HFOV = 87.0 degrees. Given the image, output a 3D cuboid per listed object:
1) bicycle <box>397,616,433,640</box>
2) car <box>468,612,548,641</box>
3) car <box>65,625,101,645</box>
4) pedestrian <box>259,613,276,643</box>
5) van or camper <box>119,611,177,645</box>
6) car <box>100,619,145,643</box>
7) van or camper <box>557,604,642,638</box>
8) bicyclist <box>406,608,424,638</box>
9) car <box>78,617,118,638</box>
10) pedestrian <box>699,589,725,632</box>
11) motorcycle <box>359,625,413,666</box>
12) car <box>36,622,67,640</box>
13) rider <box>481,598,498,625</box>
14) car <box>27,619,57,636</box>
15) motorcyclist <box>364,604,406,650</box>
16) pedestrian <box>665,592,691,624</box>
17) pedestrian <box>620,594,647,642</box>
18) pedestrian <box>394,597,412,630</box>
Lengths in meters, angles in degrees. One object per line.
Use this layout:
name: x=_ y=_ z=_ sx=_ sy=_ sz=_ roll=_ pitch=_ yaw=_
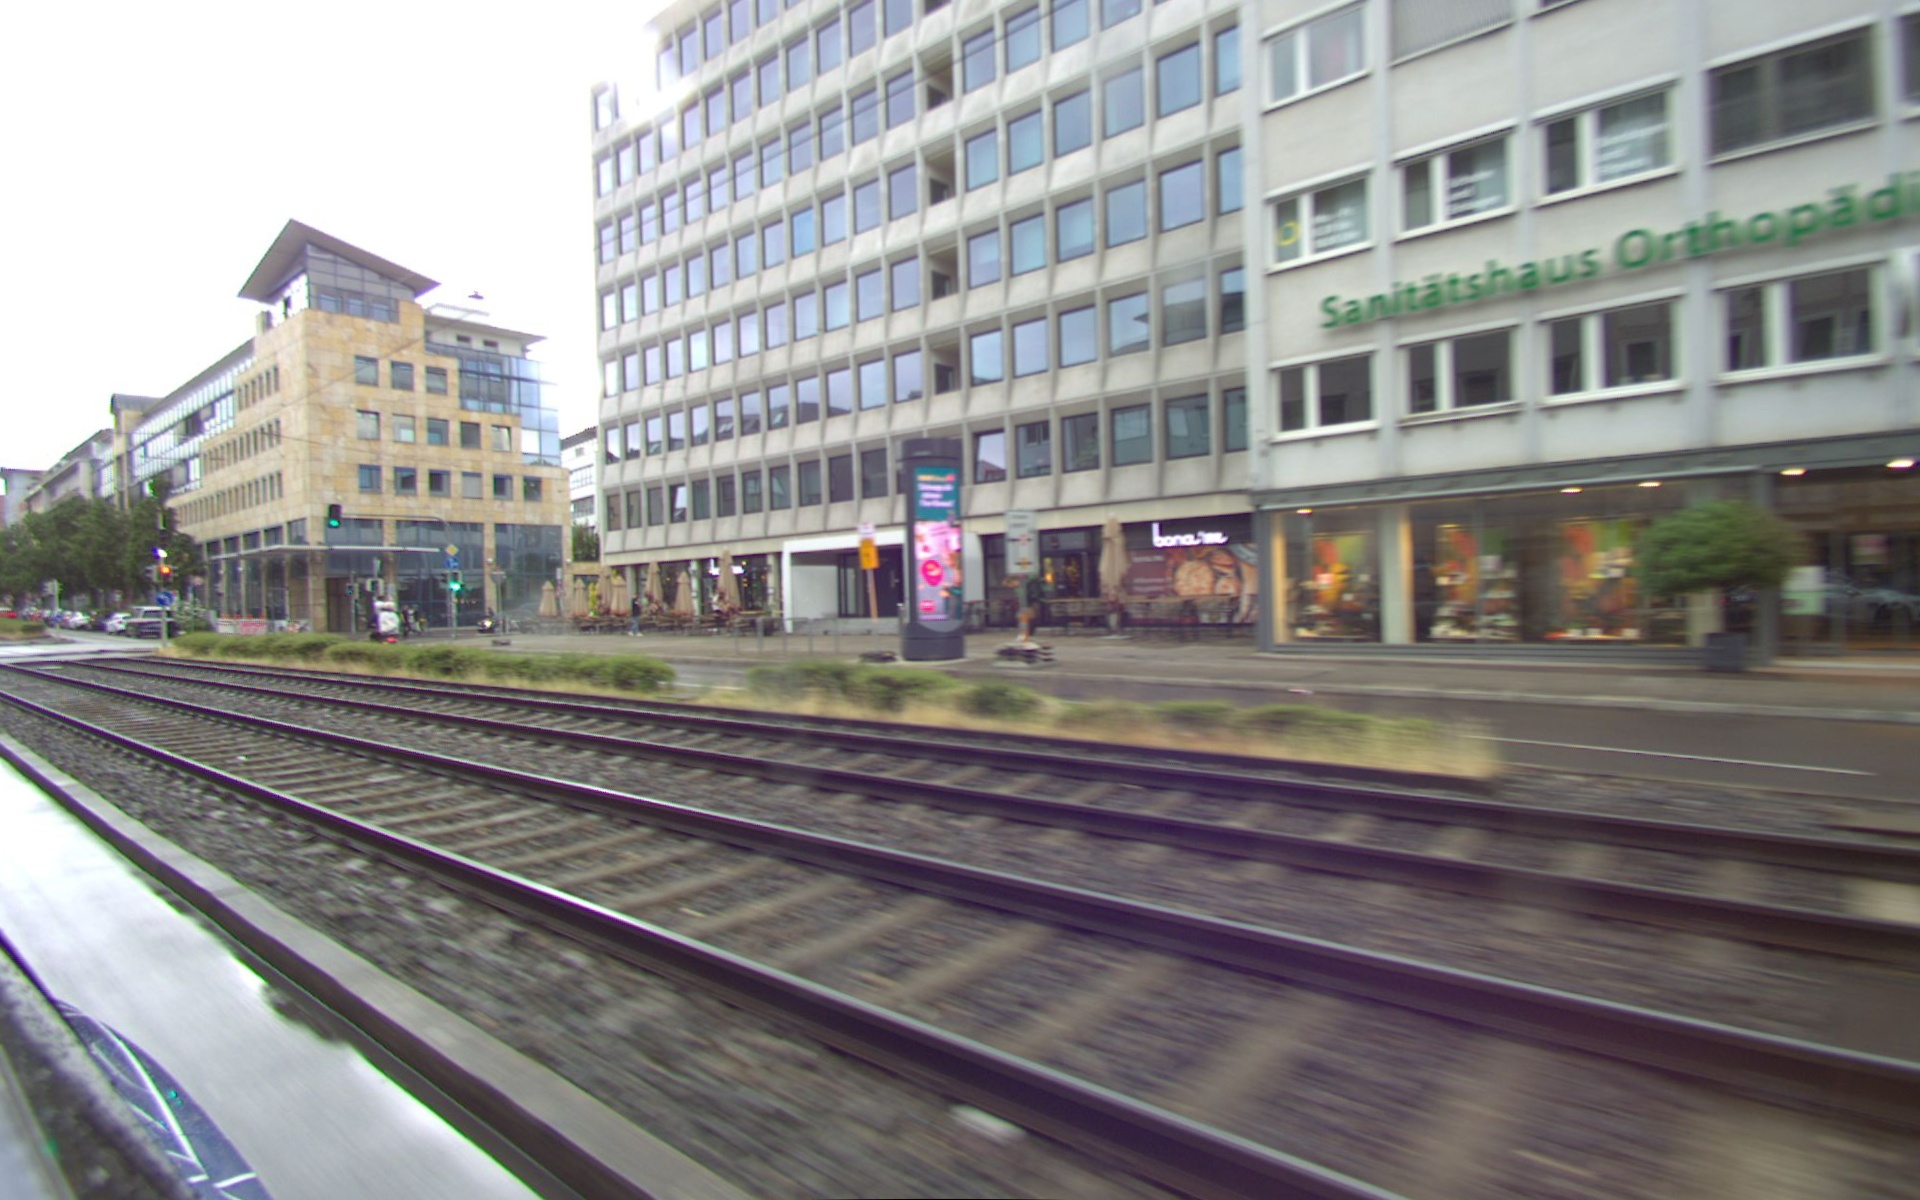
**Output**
bicycle: x=-32.569 y=1.669 z=60.519 sx=0.659 sy=1.321 sz=1.746 roll=-2 pitch=0 yaw=40
car: x=-27.097 y=1.568 z=60.744 sx=1.890 sy=1.541 sz=3.944 roll=-2 pitch=0 yaw=42
car: x=-69.127 y=2.751 z=79.782 sx=4.191 sy=1.509 sz=1.632 roll=-1 pitch=-1 yaw=42
pedestrian: x=-43.103 y=1.754 z=62.993 sx=0.679 sy=1.828 sz=0.693 roll=-2 pitch=-1 yaw=44
van or camper: x=-51.837 y=1.727 z=64.575 sx=5.196 sy=2.012 sz=1.996 roll=0 pitch=1 yaw=42
car: x=-57.693 y=2.144 z=69.676 sx=4.252 sy=1.497 sz=1.672 roll=-2 pitch=0 yaw=40
van or camper: x=-24.288 y=1.383 z=68.324 sx=2.095 sy=2.077 sz=5.031 roll=-2 pitch=0 yaw=40
bicyclist: x=-32.572 y=1.375 z=60.519 sx=0.783 sy=1.818 sz=0.701 roll=-2 pitch=-1 yaw=41
car: x=-65.310 y=2.100 z=76.684 sx=3.997 sy=1.497 sz=1.672 roll=-2 pitch=0 yaw=40
pedestrian: x=-10.231 y=0.438 z=41.750 sx=0.843 sy=1.762 sz=0.559 roll=-2 pitch=0 yaw=37
motorcycle: x=-15.848 y=1.244 z=27.926 sx=1.931 sy=1.067 sz=0.734 roll=-1 pitch=0 yaw=43
car: x=-82.240 y=2.769 z=91.581 sx=4.620 sy=1.552 sz=1.632 roll=-1 pitch=-1 yaw=42
rider: x=-29.862 y=0.741 z=64.232 sx=0.783 sy=1.688 sz=0.701 roll=-2 pitch=-1 yaw=41
car: x=-86.499 y=2.557 z=95.346 sx=4.620 sy=1.552 sz=1.632 roll=-1 pitch=-1 yaw=42
motorcyclist: x=-15.894 y=0.732 z=27.958 sx=0.970 sy=1.226 sz=0.733 roll=-1 pitch=0 yaw=43
pedestrian: x=-14.292 y=0.410 z=51.269 sx=0.964 sy=1.544 sz=0.885 roll=-2 pitch=0 yaw=40
pedestrian: x=-12.608 y=0.691 z=39.052 sx=0.843 sy=1.836 sz=0.559 roll=-2 pitch=0 yaw=37
pedestrian: x=-30.931 y=0.730 z=56.182 sx=0.667 sy=1.794 sz=0.705 roll=-2 pitch=0 yaw=-14
